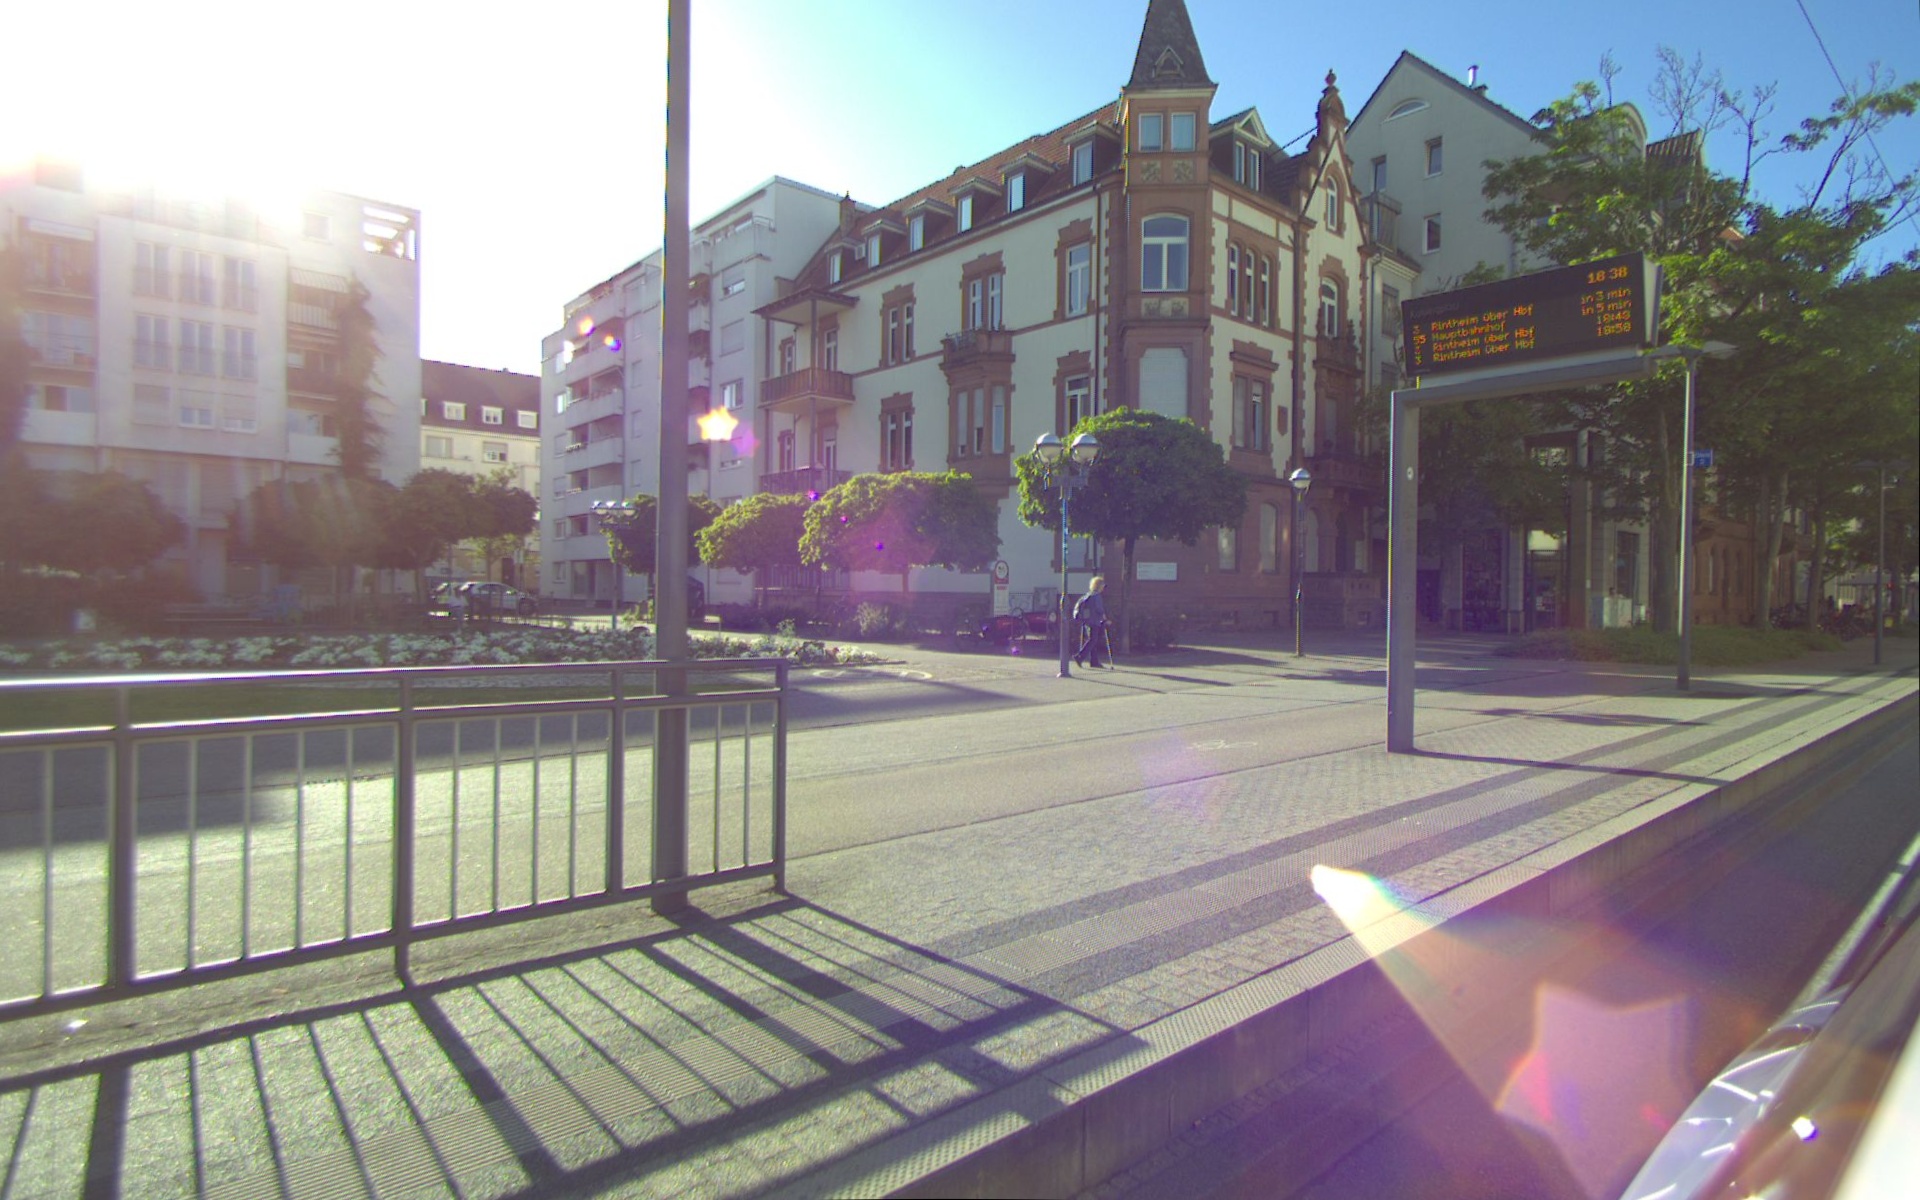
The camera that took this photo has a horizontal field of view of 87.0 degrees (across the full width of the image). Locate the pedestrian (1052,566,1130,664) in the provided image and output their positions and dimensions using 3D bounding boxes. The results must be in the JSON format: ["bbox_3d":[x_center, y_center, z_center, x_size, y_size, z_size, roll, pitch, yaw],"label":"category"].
[{"bbox_3d":[2.365,0.242,18.208,1.064,1.689,0.944,1,0,37],"label":"pedestrian"}]

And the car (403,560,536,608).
[{"bbox_3d":[-27.964,-0.891,57.826,2.806,2.587,6.295,1,1,44],"label":"car"}]

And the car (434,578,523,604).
[{"bbox_3d":[-24.892,-0.474,52.319,3.923,1.304,2.001,0,1,-34],"label":"car"}]

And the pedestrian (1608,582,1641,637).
[{"bbox_3d":[21.672,0.287,33.001,0.740,1.757,0.864,1,0,43],"label":"pedestrian"}]

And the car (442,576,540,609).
[{"bbox_3d":[-22.263,-0.357,48.068,3.923,1.536,2.001,0,1,-34],"label":"car"}]

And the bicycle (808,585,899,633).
[{"bbox_3d":[-3.230,0.251,30.920,2.864,1.389,0.745,0,1,-41],"label":"bicycle"}]

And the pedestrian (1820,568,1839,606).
[{"bbox_3d":[46.966,-0.688,54.649,0.549,2.039,0.654,0,0,-38],"label":"pedestrian"}]

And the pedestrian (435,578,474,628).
[{"bbox_3d":[-14.680,0.071,29.353,0.917,1.429,1.529,0,1,-30],"label":"pedestrian"}]

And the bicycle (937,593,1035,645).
[{"bbox_3d":[0.662,0.423,24.166,0.786,1.081,2.767,1,2,40],"label":"bicycle"}]
